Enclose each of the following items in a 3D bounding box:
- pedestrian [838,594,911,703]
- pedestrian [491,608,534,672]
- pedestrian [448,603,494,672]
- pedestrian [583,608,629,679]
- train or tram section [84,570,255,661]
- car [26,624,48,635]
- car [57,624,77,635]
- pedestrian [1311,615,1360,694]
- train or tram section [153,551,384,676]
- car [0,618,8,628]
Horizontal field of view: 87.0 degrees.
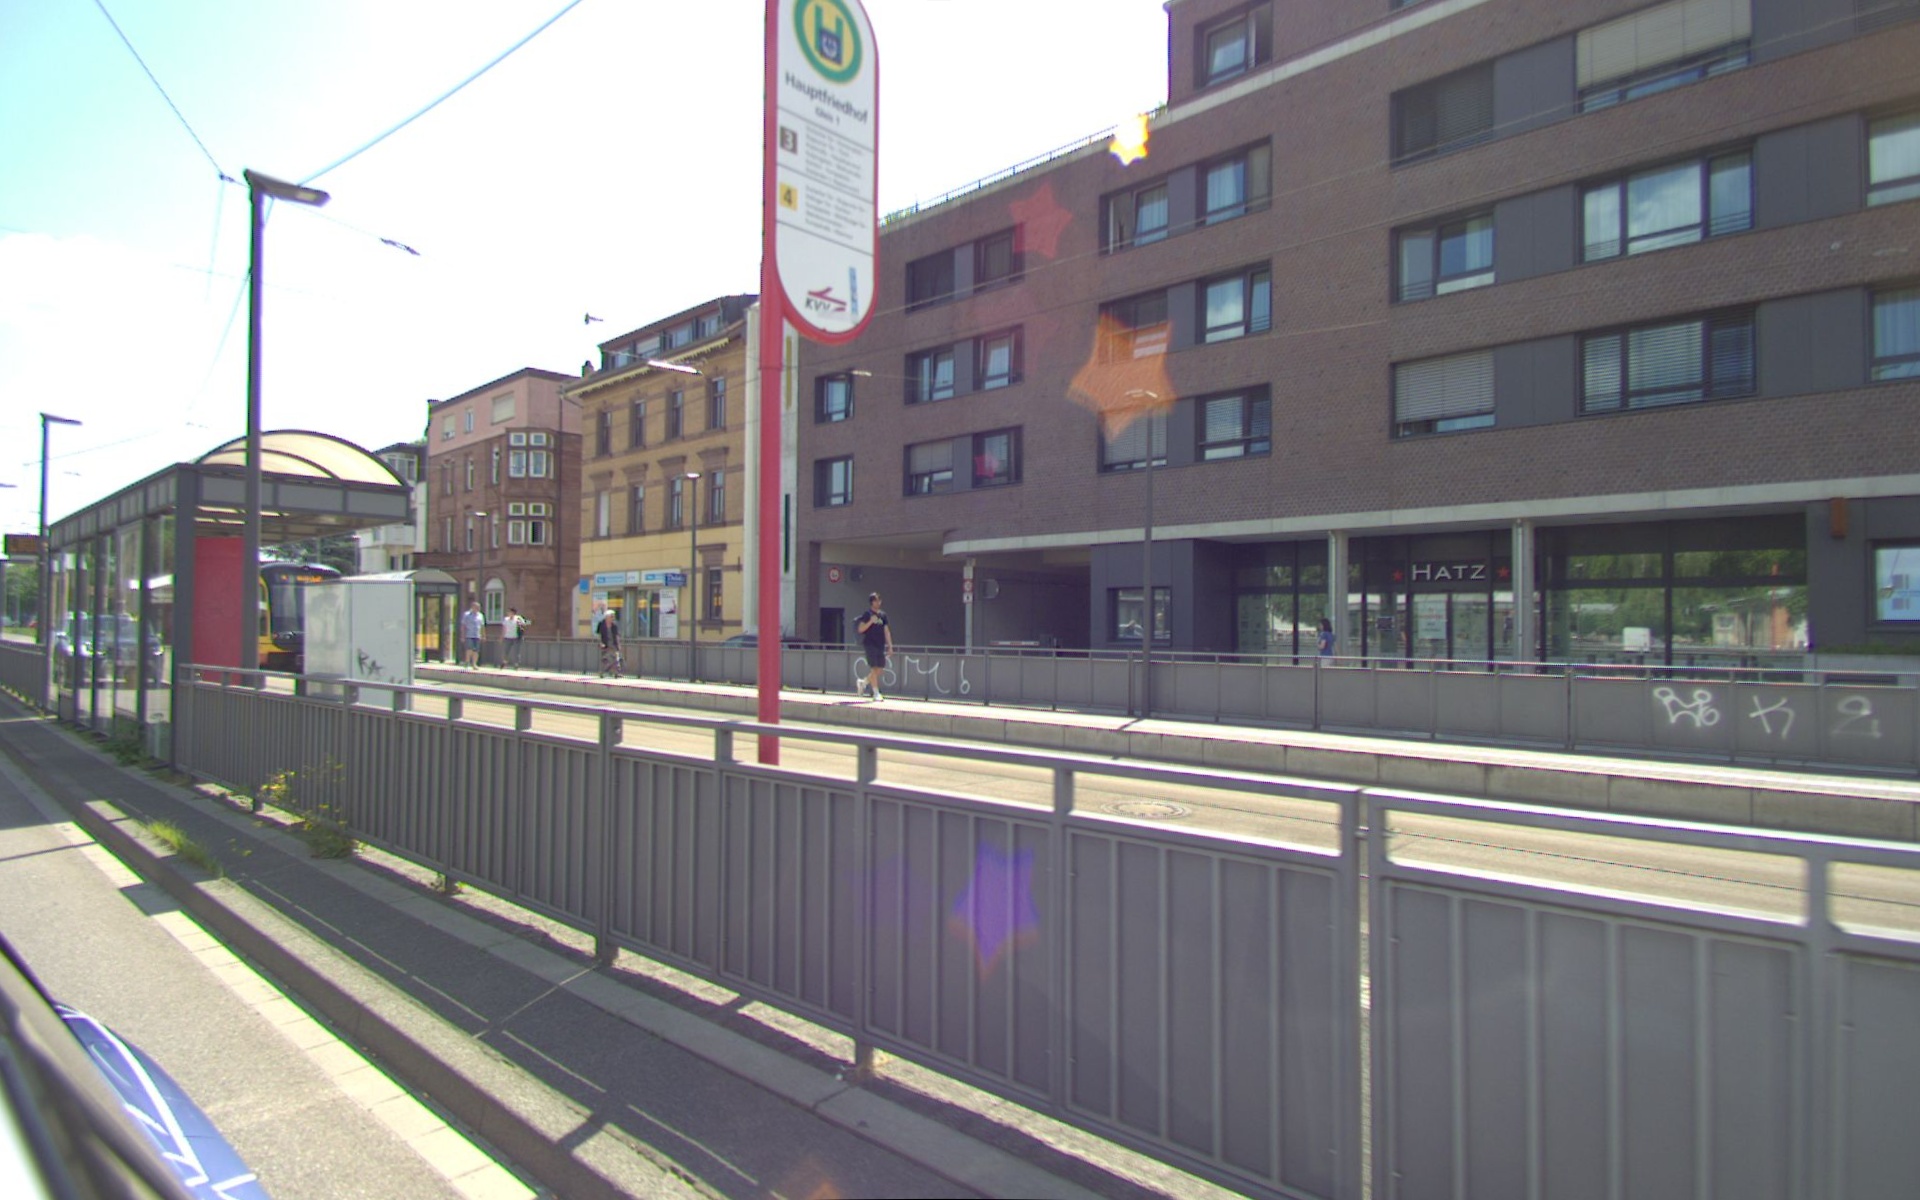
[{"bbox_3d":[-1.441,0.801,16.989,1.033,1.773,0.678,-1,-3,42],"label":"pedestrian"},{"bbox_3d":[-12.149,1.075,27.463,0.809,1.708,0.752,-1,-3,42],"label":"pedestrian"},{"bbox_3d":[-13.254,1.012,27.428,0.951,1.813,0.752,-1,-3,42],"label":"pedestrian"},{"bbox_3d":[-8.185,0.997,23.402,0.761,1.608,0.678,-1,-3,42],"label":"pedestrian"},{"bbox_3d":[-38.158,0.773,48.239,20.502,3.594,3.215,-1,-2,43],"label":"train or tram section"},{"bbox_3d":[-130.097,4.110,142.634,4.822,1.461,1.971,-1,-1,44],"label":"car"},{"bbox_3d":[-133.742,4.439,151.529,3.999,1.608,1.721,-1,-3,42],"label":"car"},{"bbox_3d":[7.791,1.120,21.026,0.761,1.608,0.678,-1,-3,42],"label":"pedestrian"},{"bbox_3d":[-24.916,0.525,35.743,16.350,3.594,3.199,-1,-2,43],"label":"train or tram section"},{"bbox_3d":[-177.728,4.303,187.153,4.551,1.890,1.839,-1,-3,40],"label":"car"}]
